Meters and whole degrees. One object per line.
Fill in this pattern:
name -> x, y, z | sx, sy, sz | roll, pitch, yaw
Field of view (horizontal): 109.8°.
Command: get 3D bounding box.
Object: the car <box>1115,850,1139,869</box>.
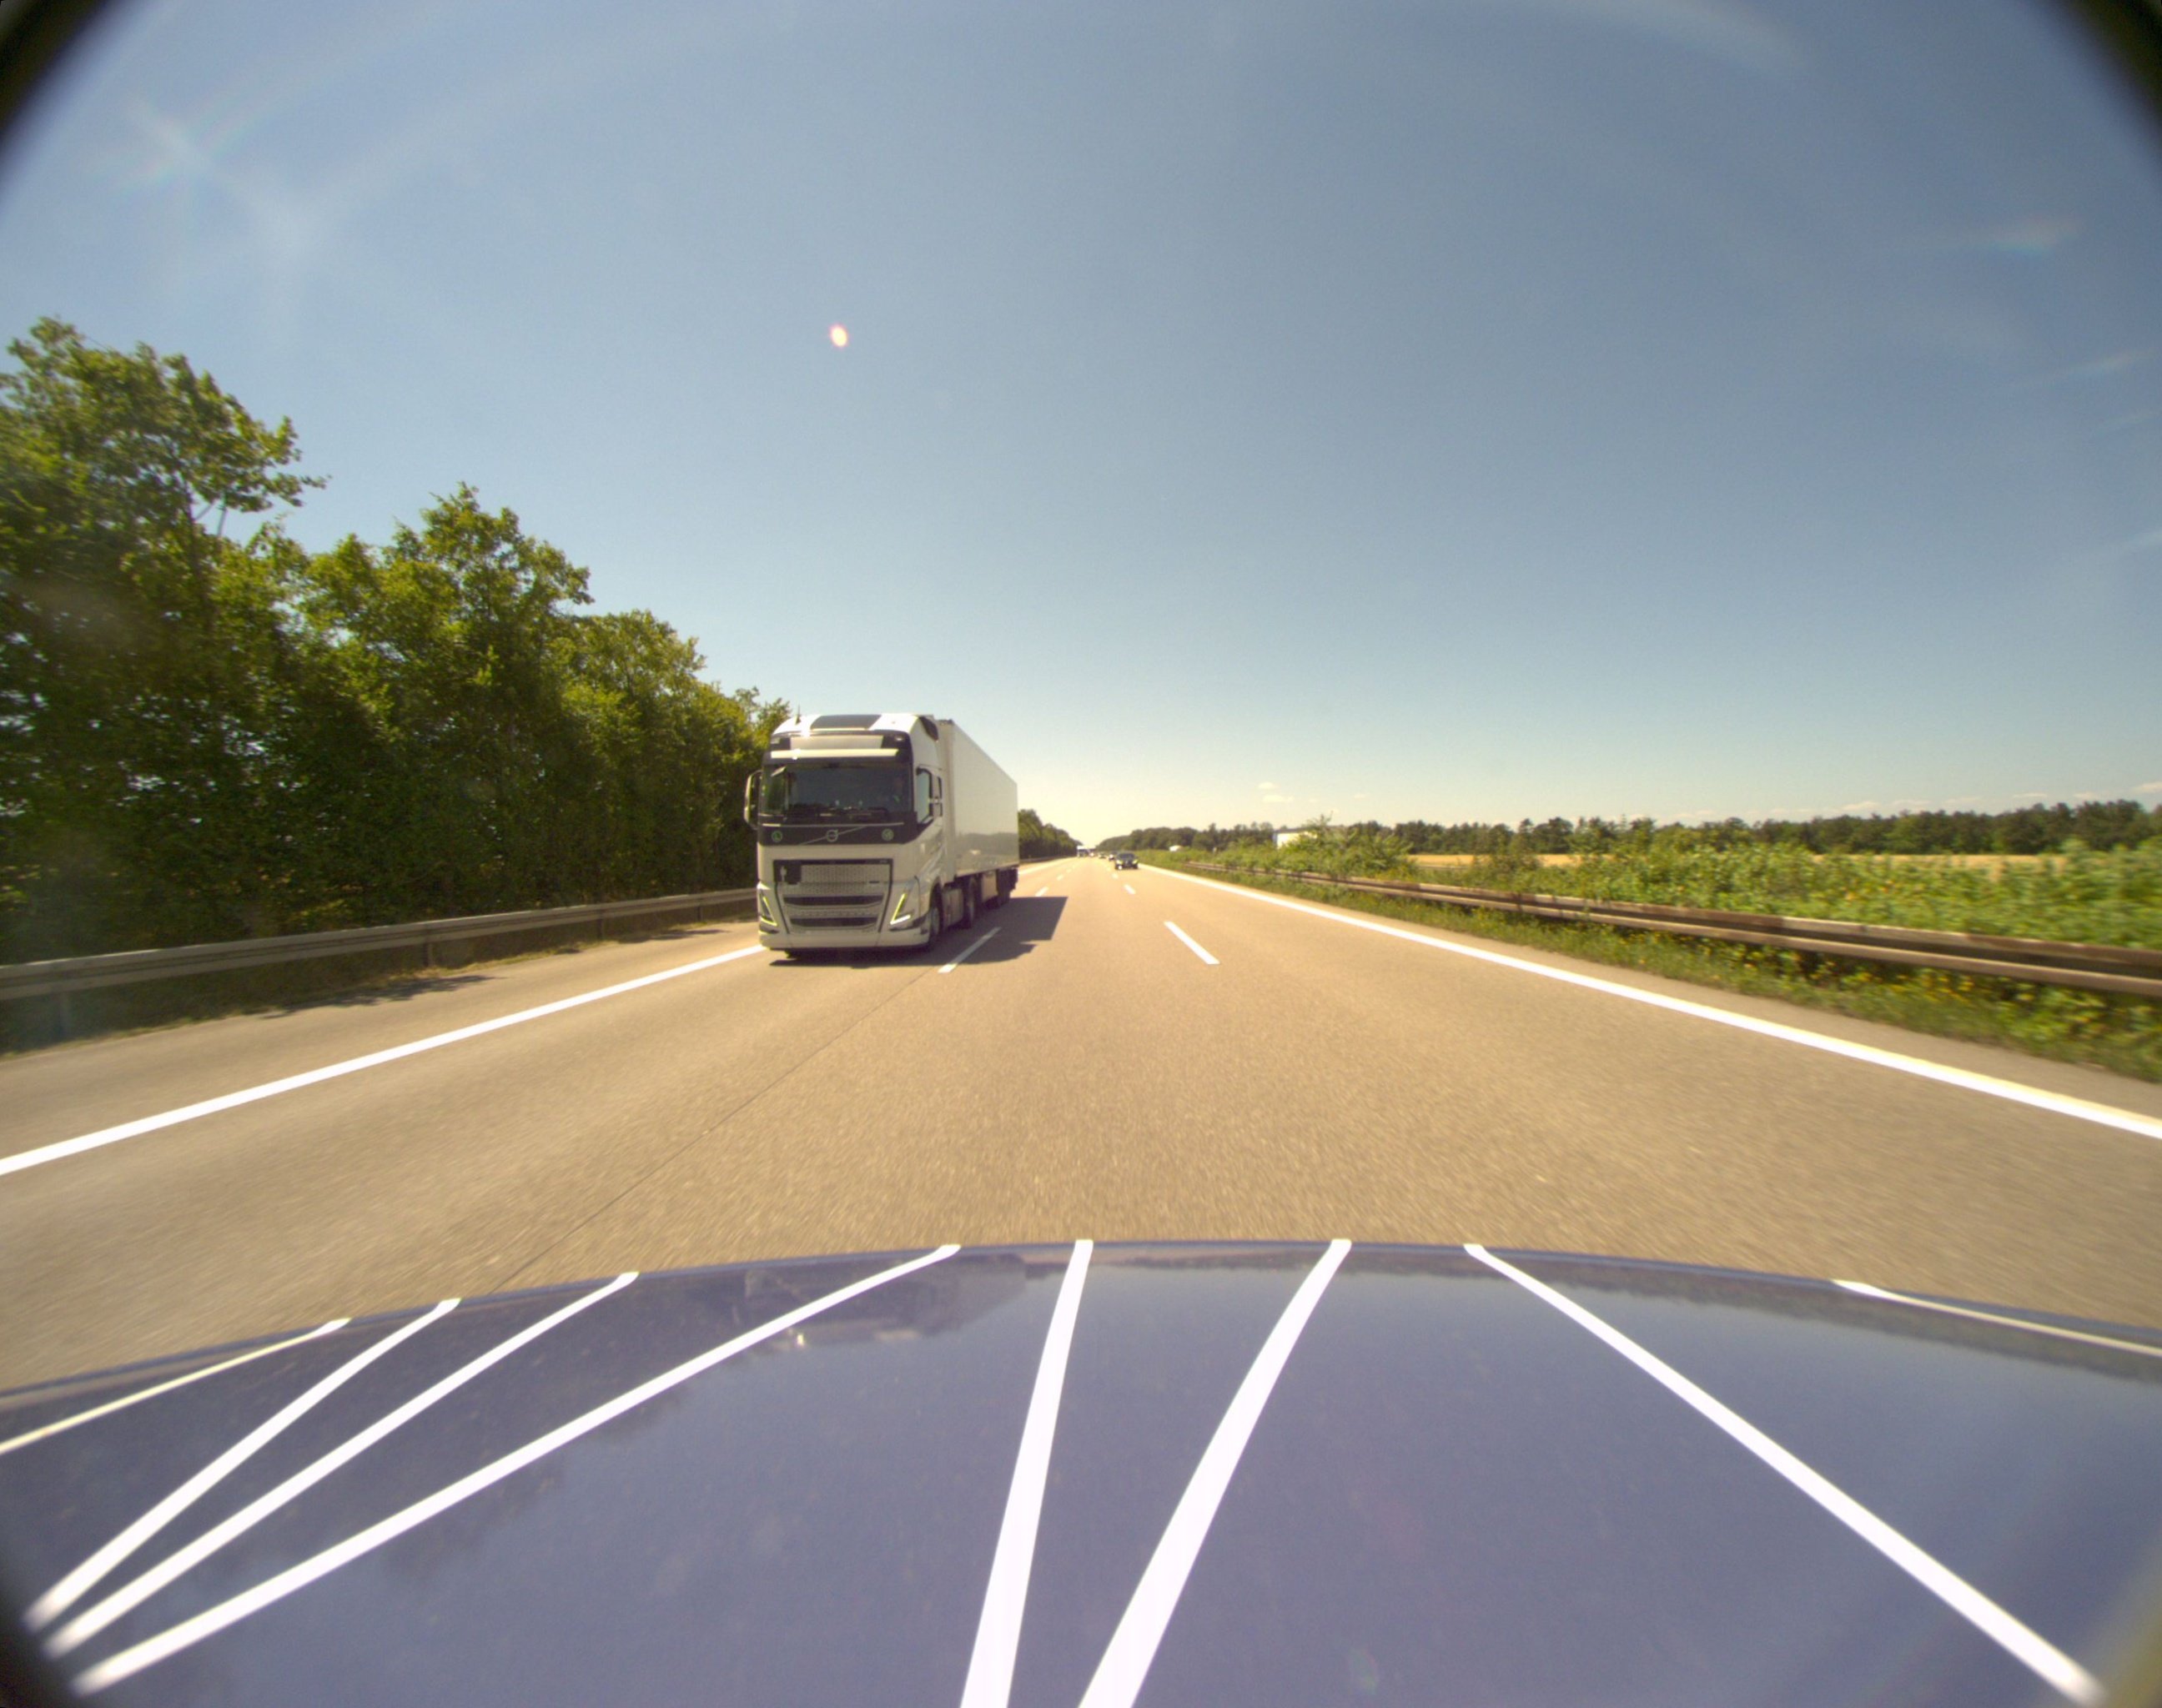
car -> 3.889, 0.433, 64.443 | 1.811, 1.460, 4.000 | -2, 1, 1

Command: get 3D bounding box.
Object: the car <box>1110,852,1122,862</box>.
car -> 5.555, 0.438, 121.208 | 1.811, 1.417, 4.000 | -2, 1, 1

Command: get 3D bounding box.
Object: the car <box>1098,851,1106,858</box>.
car -> 4.881, 0.156, 175.926 | 1.811, 1.417, 4.000 | -2, 1, 1

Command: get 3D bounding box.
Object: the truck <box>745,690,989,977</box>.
truck -> -3.468, -0.320, 14.115 | 2.476, 4.039, 6.319 | -2, 1, 1

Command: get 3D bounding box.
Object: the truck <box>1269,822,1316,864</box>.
truck -> 21.792, -1.104, 78.580 | 3.066, 4.035, 5.917 | -2, 1, 1

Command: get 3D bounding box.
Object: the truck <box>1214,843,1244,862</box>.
truck -> 17.692, -0.191, 91.084 | 2.253, 2.141, 6.572 | -2, 1, 1

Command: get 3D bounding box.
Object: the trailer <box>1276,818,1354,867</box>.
trailer -> 21.688, -1.023, 71.495 | 3.066, 4.035, 13.954 | -2, 1, 1

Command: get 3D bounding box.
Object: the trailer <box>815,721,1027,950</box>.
trailer -> -3.388, -0.405, 20.691 | 2.476, 4.039, 13.879 | -2, 1, 1

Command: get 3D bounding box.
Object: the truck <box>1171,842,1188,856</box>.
truck -> 24.005, -1.227, 186.195 | 2.575, 3.106, 13.119 | -2, 1, 1
